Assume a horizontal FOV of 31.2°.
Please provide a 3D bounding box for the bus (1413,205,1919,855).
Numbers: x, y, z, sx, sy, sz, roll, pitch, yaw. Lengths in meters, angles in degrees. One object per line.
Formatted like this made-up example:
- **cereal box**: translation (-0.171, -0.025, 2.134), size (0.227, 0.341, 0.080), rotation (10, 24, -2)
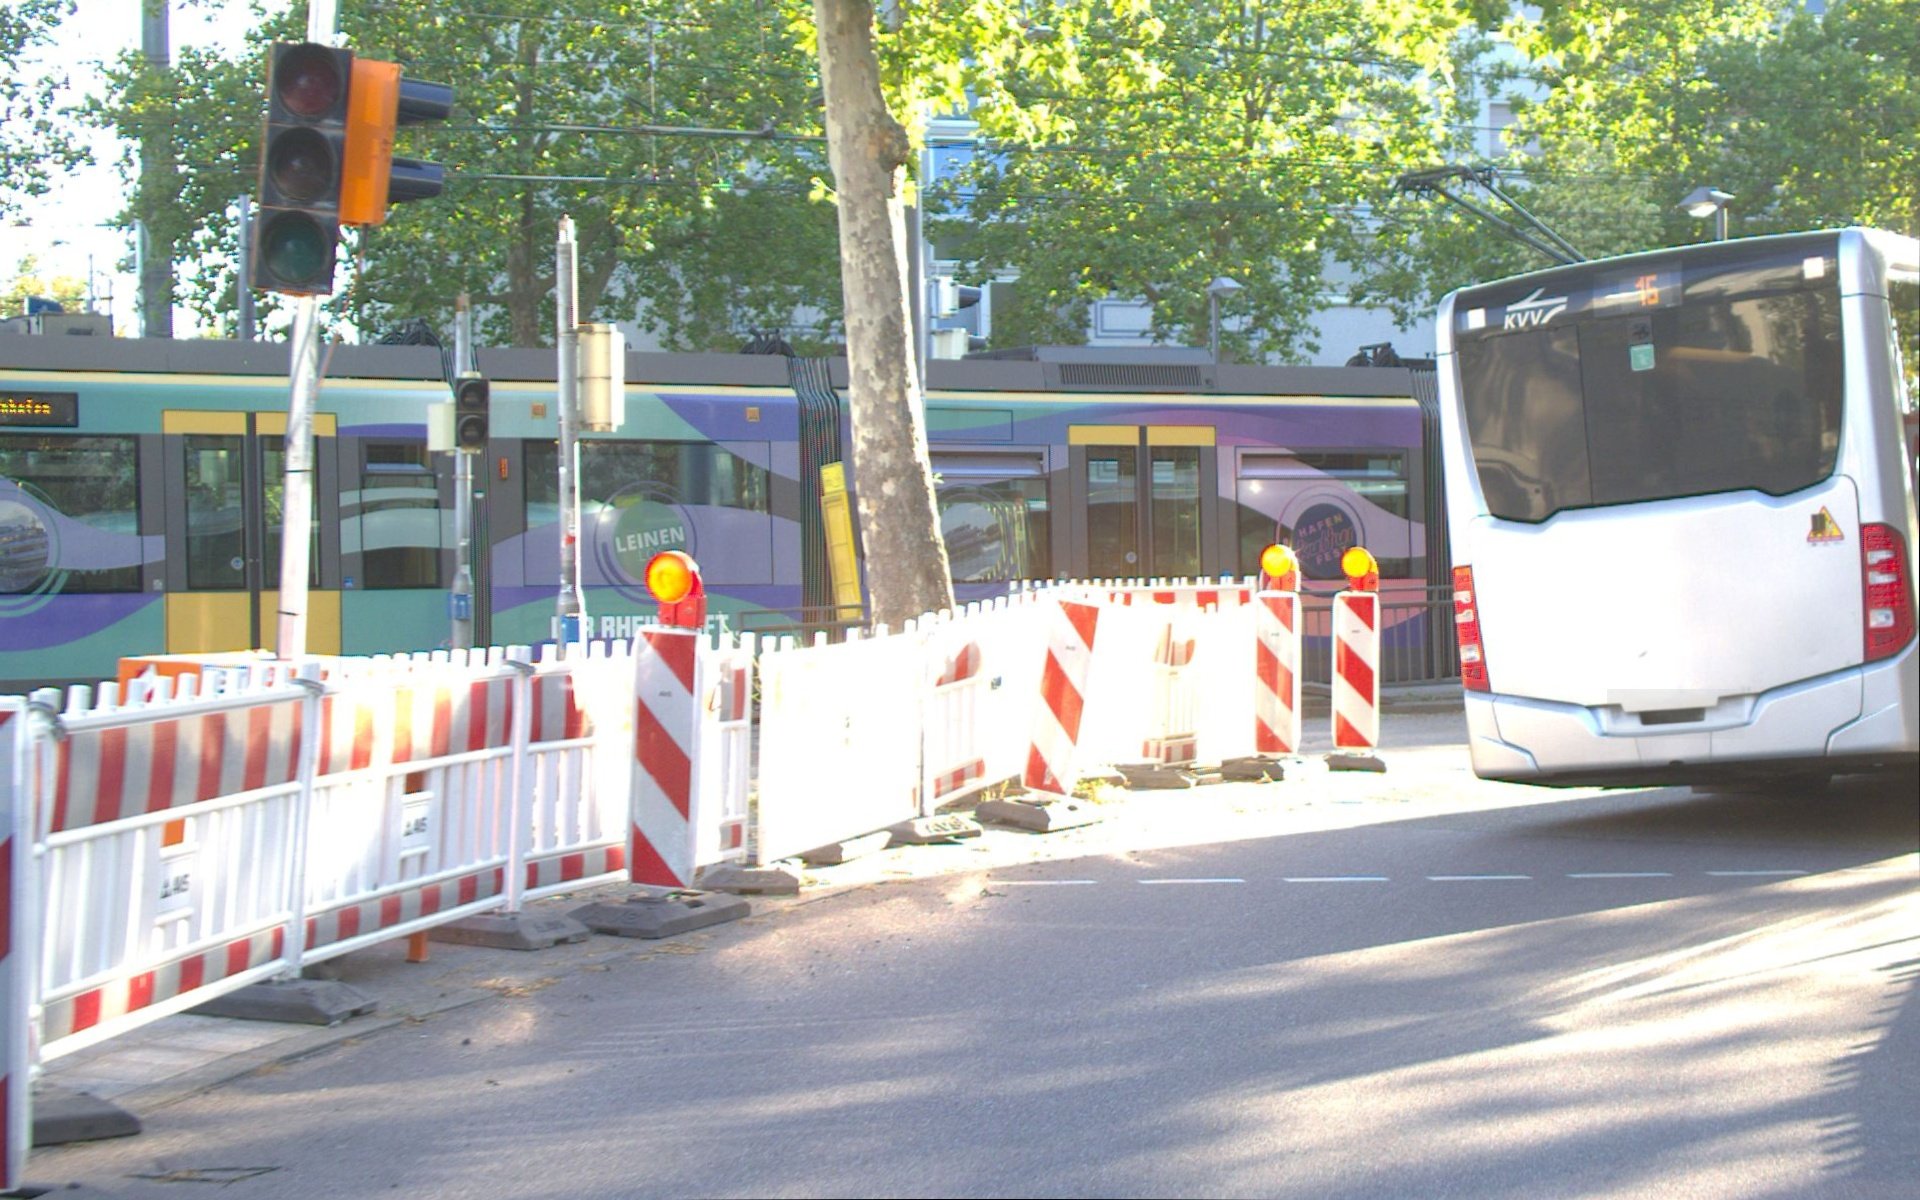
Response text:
- **bus**: translation (6.760, -0.464, 21.624), size (2.739, 3.128, 10.680), rotation (0, 1, 38)

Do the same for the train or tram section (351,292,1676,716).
- **train or tram section**: translation (0.814, -0.842, 32.679), size (12.740, 3.537, 2.738), rotation (0, 0, -26)

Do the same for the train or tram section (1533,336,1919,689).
- **train or tram section**: translation (12.774, -0.916, 37.926), size (13.286, 3.507, 2.650), rotation (0, 0, -22)

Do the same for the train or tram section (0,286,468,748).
- **train or tram section**: translation (-10.244, -0.618, 25.715), size (13.356, 3.521, 2.858), rotation (0, 0, -38)
